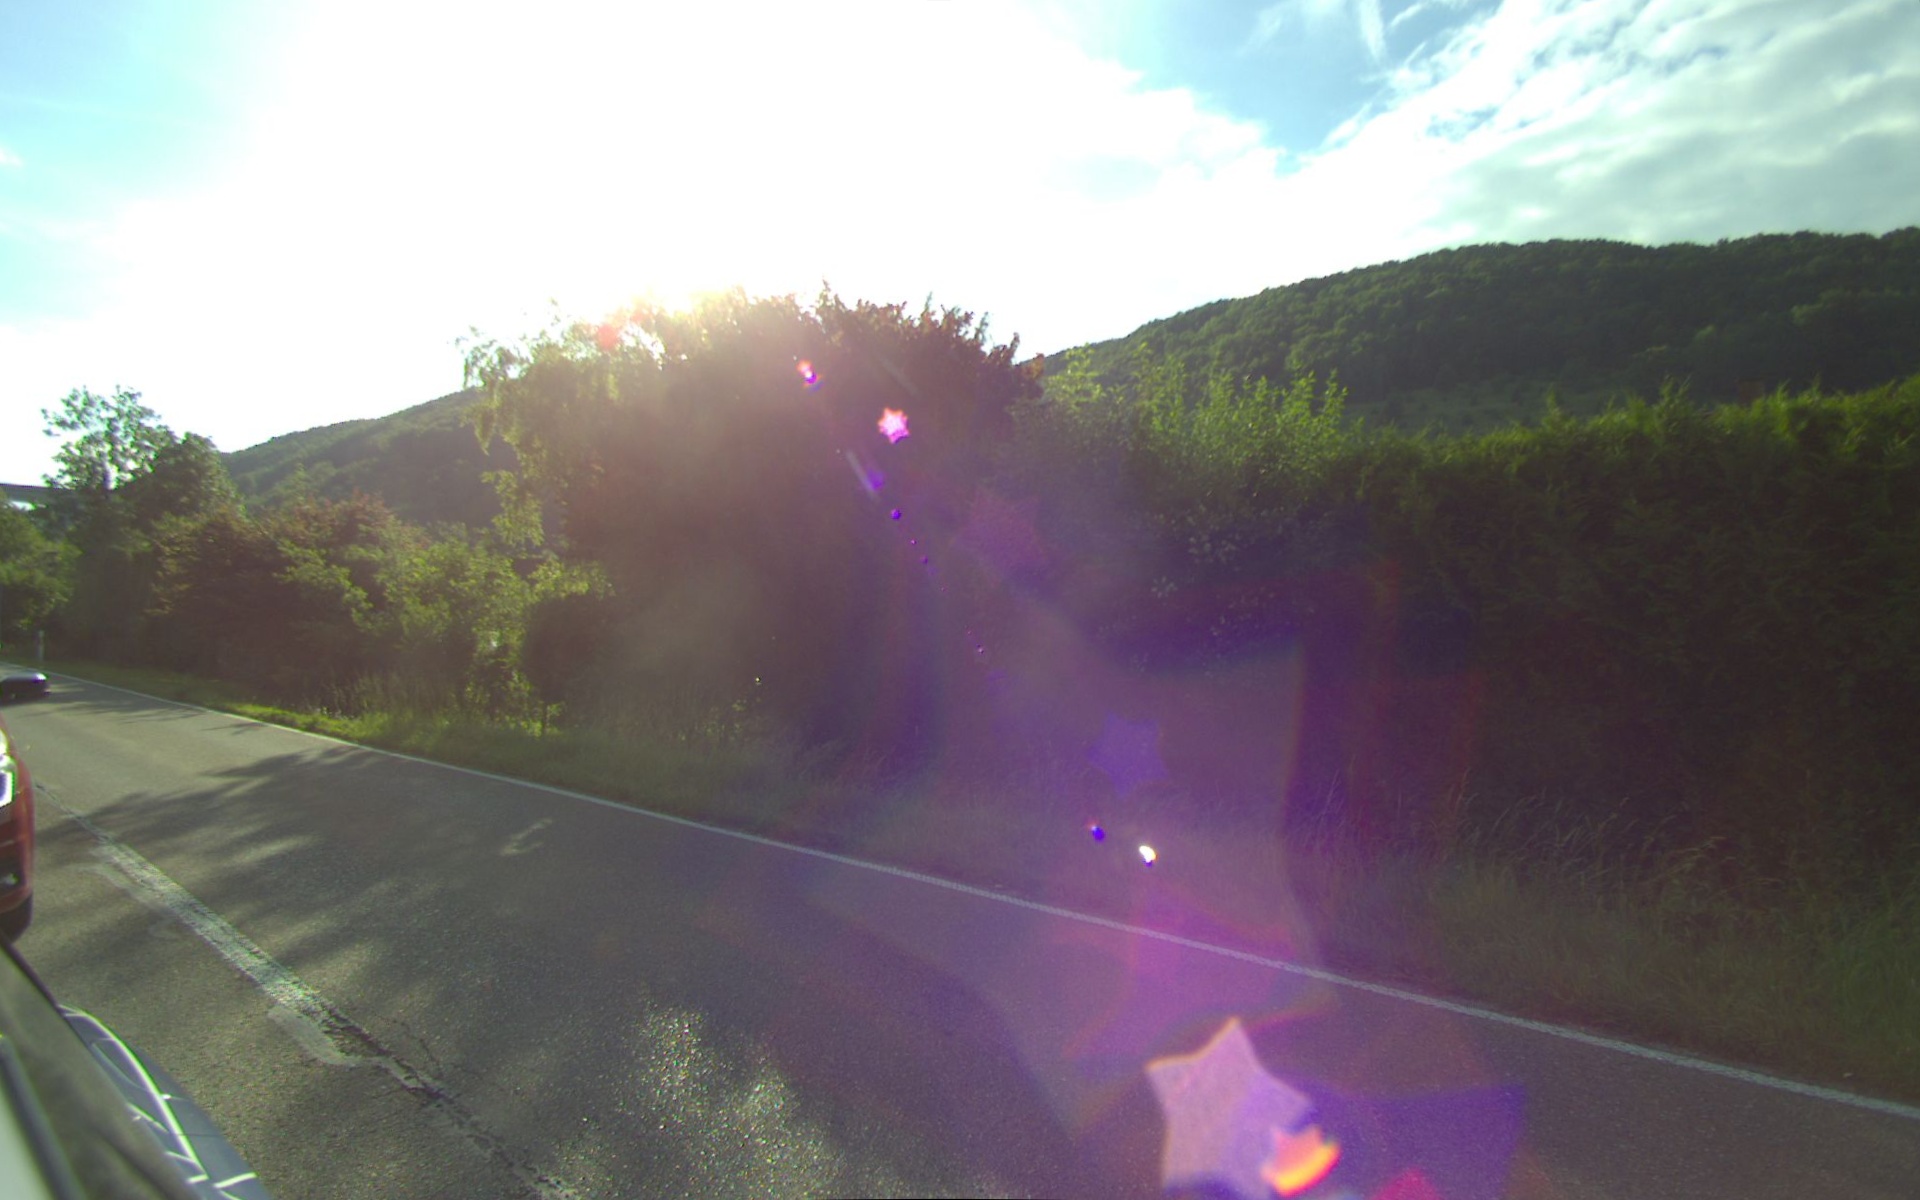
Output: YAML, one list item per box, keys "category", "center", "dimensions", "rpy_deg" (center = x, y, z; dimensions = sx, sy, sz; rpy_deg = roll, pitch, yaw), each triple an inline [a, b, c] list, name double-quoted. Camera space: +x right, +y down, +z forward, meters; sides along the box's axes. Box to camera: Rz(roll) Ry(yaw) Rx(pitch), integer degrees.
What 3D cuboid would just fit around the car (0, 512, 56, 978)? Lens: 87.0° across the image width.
- category: "car"
  center: [-5.828, 0.608, 4.841]
  dimensions: [4.286, 1.823, 1.731]
  rpy_deg: [-1, 1, 42]
